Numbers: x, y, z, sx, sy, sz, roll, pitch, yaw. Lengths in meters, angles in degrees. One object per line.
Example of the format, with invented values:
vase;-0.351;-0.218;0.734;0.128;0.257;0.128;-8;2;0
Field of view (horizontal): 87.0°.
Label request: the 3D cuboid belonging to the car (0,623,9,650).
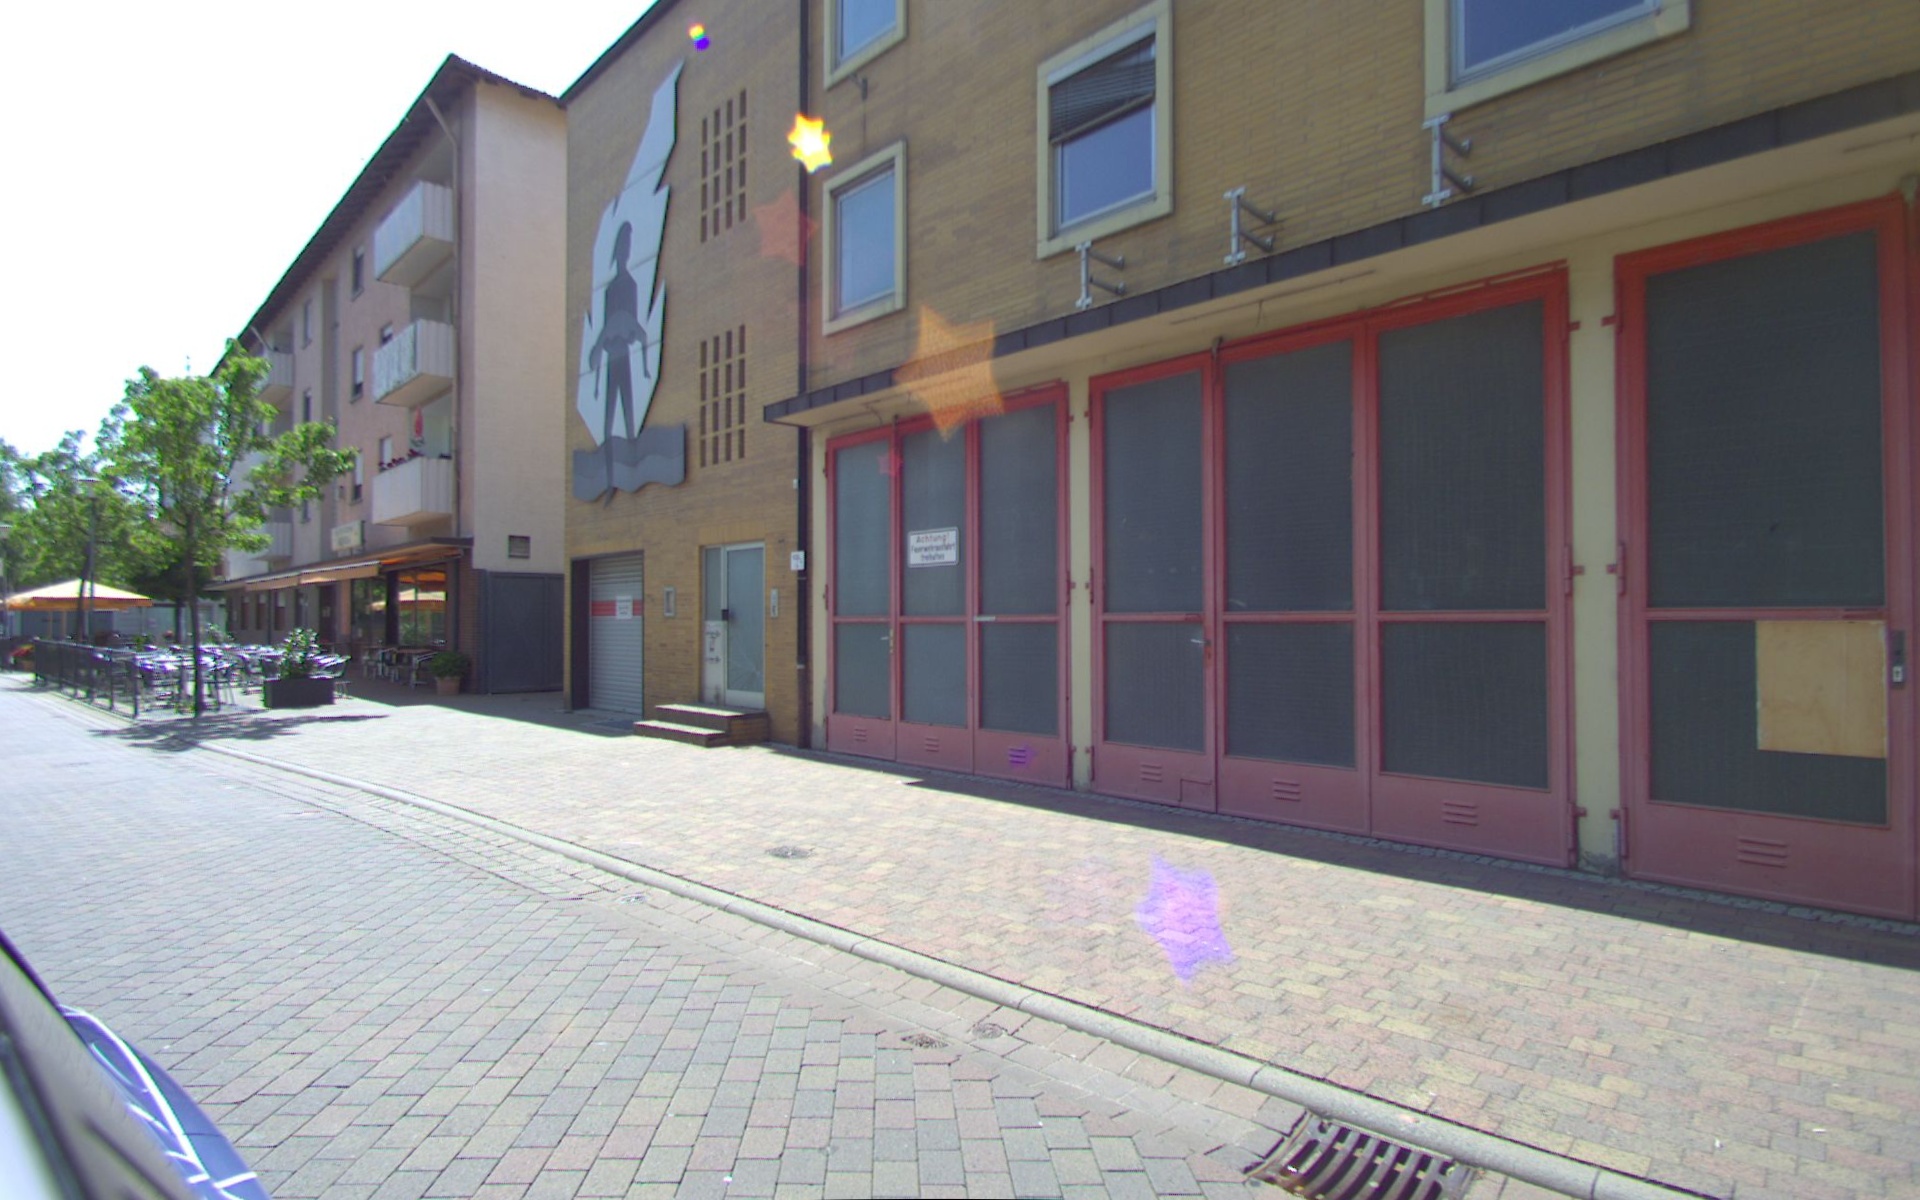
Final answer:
car;-54.941;2.025;55.798;1.871;1.568;5.048;0;-1;-21
